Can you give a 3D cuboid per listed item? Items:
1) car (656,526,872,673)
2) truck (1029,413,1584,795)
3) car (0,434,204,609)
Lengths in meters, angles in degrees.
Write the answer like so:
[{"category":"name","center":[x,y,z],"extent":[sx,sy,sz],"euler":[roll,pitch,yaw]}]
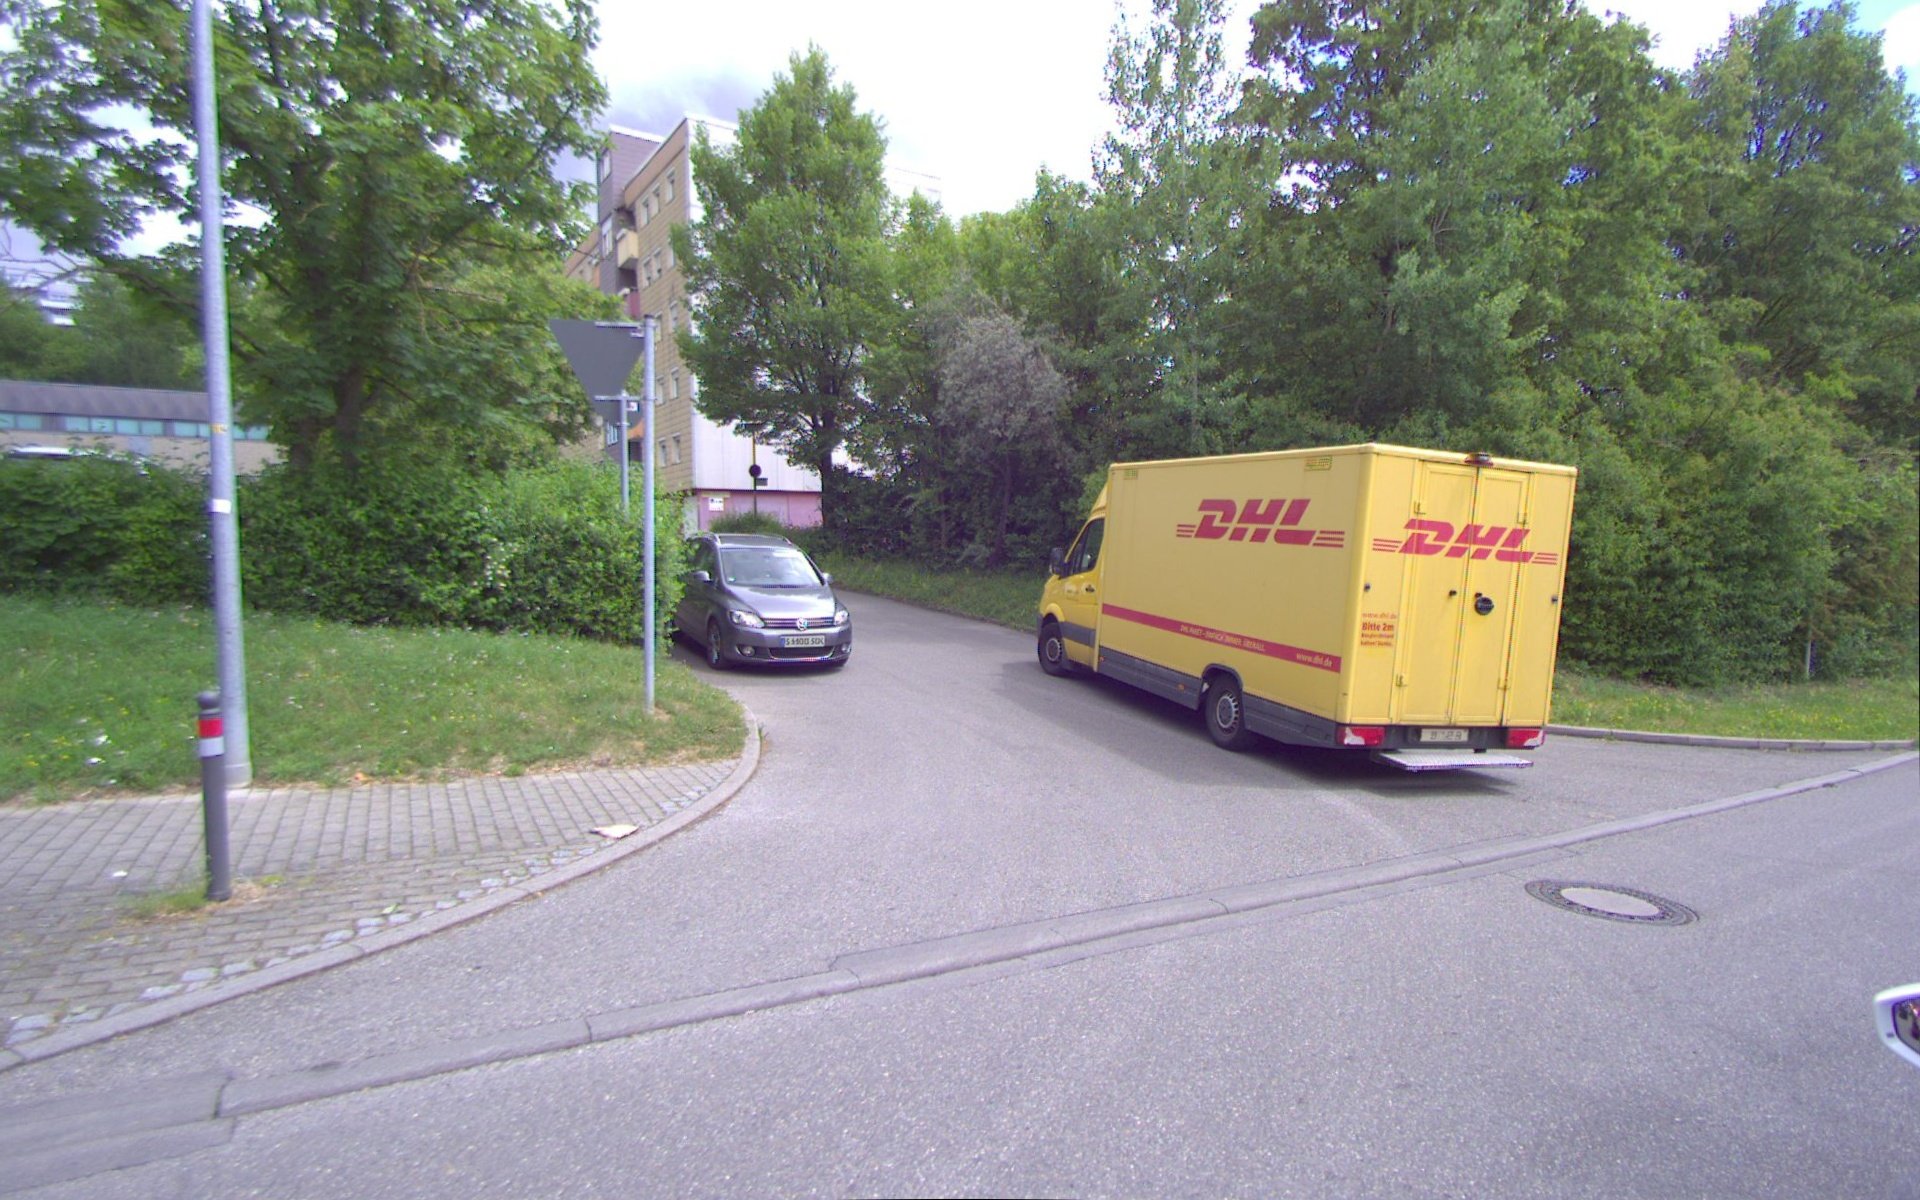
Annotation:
[{"category":"car","center":[-2.827,-0.111,13.688],"extent":[1.736,1.684,4.089],"euler":[2,3,-28]},{"category":"truck","center":[2.963,-0.173,10.923],"extent":[2.197,2.847,6.546],"euler":[1,4,-16]},{"category":"car","center":[-11.278,-1.095,12.937],"extent":[1.977,1.885,3.966],"euler":[2,6,-31]}]
